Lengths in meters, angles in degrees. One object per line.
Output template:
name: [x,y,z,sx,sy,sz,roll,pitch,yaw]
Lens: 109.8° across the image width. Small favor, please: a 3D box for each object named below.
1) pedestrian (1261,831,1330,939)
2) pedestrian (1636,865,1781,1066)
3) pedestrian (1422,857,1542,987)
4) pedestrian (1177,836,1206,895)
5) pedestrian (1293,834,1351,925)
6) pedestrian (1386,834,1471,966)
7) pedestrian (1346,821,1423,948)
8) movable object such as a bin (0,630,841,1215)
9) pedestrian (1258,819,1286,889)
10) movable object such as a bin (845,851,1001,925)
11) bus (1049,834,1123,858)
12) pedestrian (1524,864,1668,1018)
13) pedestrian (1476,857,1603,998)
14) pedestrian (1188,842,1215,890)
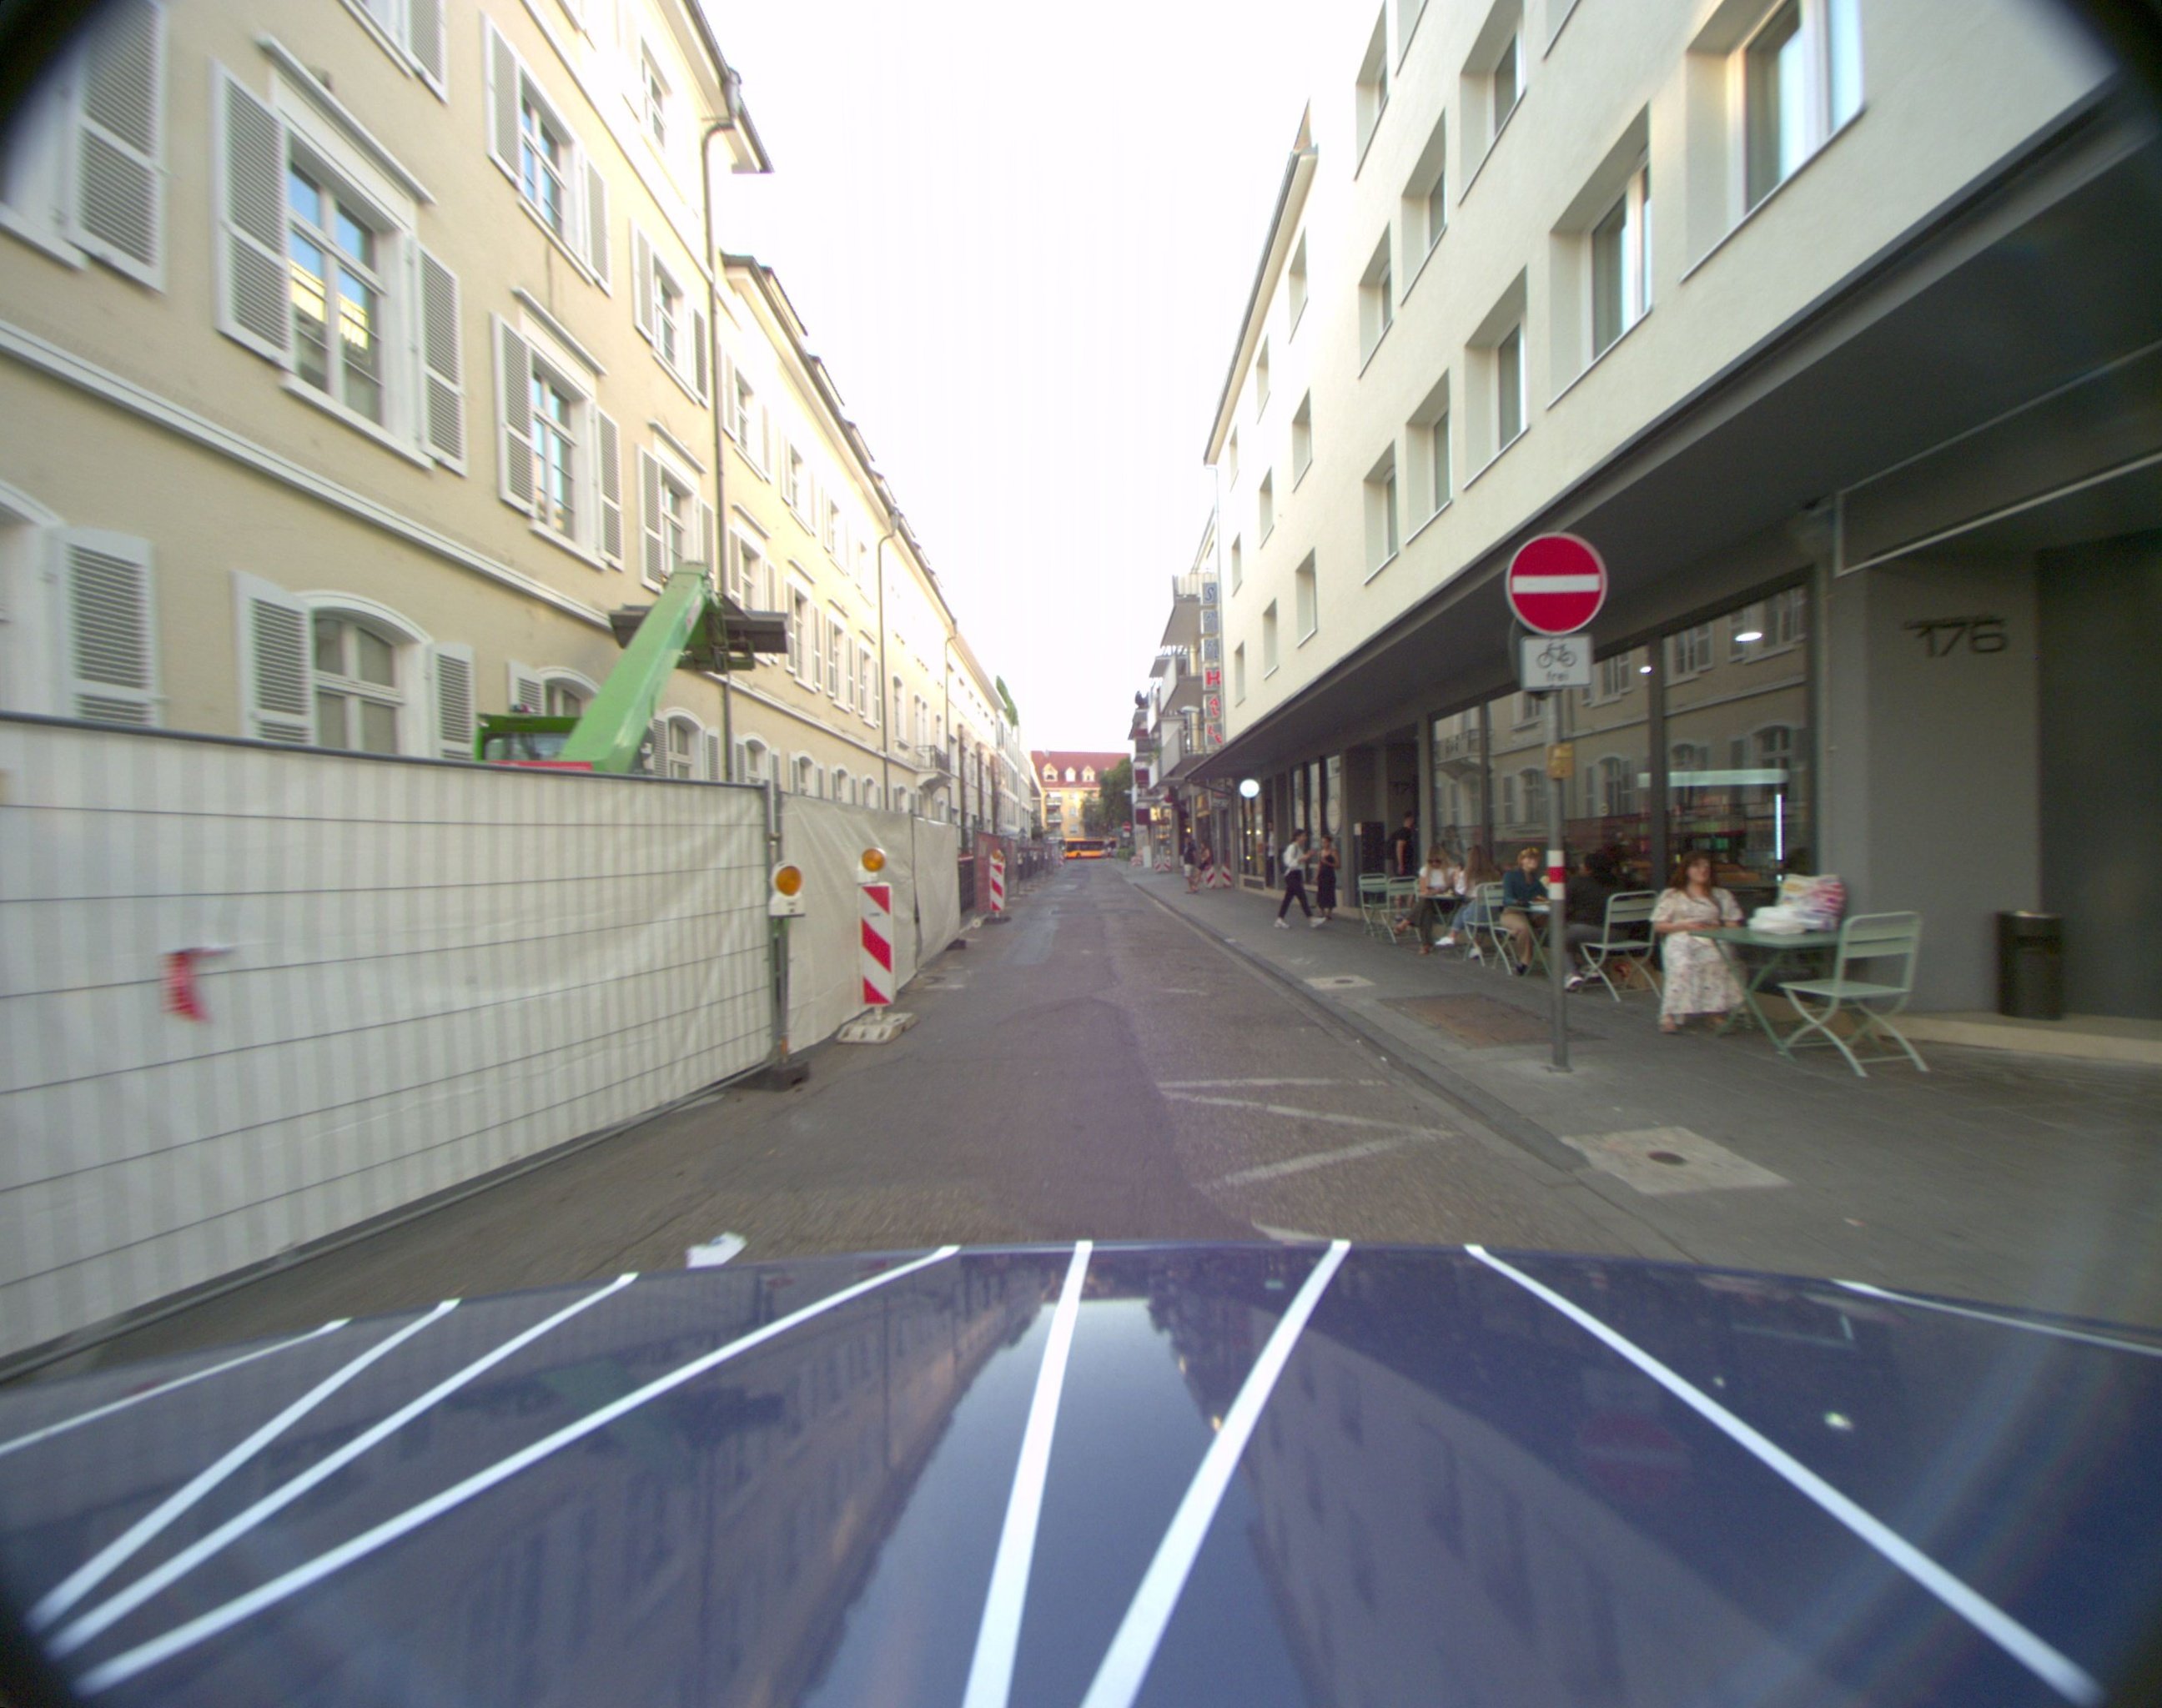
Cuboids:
pedestrian: [3.583,0.499,12.681,0.782,1.729,0.760,-3,0,39]
pedestrian: [4.308,0.709,5.261,0.704,1.212,0.843,-2,1,38]
pedestrian: [4.316,0.693,8.217,0.707,1.279,0.859,-3,1,-24]
pedestrian: [3.449,0.356,23.702,0.706,1.772,0.932,-2,1,0]
pedestrian: [4.339,0.454,13.704,0.659,1.560,0.637,-4,1,-26]
pedestrian: [4.279,0.544,9.414,0.705,1.539,0.861,-2,1,8]
pedestrian: [4.563,0.437,11.485,0.716,1.800,0.932,-3,1,1]
movable object such as a bin: [-4.226,0.311,6.547,2.642,2.856,5.563,-1,1,-2]
pedestrian: [4.946,-0.002,19.718,0.545,1.800,0.613,-1,1,0]
movable object such as a bin: [-4.005,0.781,21.108,2.898,1.655,7.292,-1,0,-1]
bus: [0.969,-1.276,116.164,3.913,3.307,12.558,1,3,42]
pedestrian: [4.412,0.721,6.558,0.705,1.188,0.691,-5,1,3]
pedestrian: [4.447,0.684,7.422,0.705,1.233,0.778,-5,1,4]
pedestrian: [4.065,0.406,25.625,0.710,1.569,0.613,-4,1,-3]
